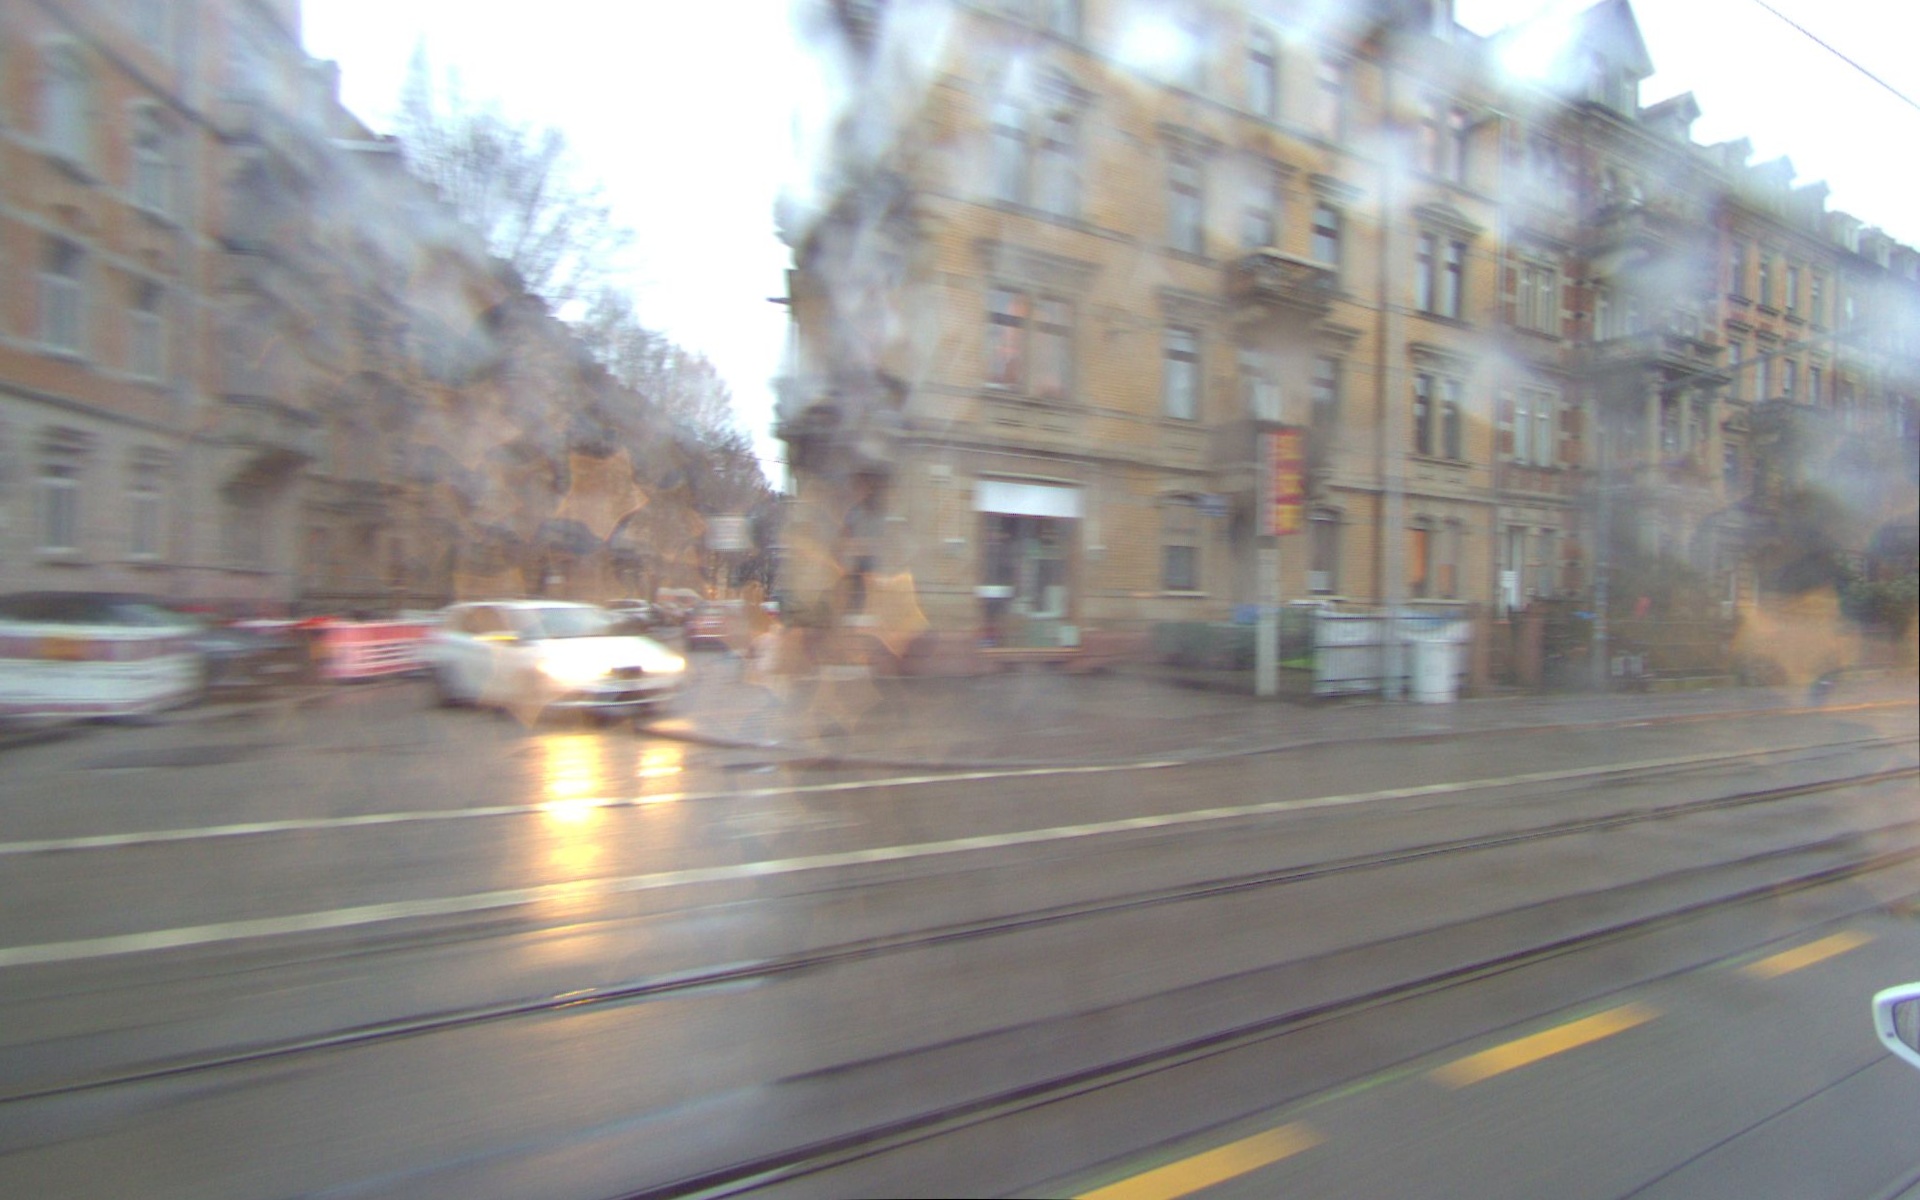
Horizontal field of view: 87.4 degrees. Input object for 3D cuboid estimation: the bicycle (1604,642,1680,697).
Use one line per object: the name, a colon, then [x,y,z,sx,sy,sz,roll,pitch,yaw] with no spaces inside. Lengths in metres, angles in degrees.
bicycle: [13.336,1.332,19.629,1.742,1.020,0.493,1,0,-29]

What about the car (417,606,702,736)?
car: [-5.766,0.887,14.271,4.108,1.546,1.992,0,-1,39]

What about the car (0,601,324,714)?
car: [-12.039,0.824,14.986,3.923,1.550,1.728,1,0,-3]

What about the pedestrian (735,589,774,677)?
pedestrian: [-4.281,0.681,20.964,0.757,1.797,0.719,1,0,-11]

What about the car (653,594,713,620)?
car: [-22.047,0.543,80.162,4.430,1.901,1.995,2,1,-13]

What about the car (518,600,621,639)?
car: [-16.459,0.837,42.435,3.941,1.586,1.801,1,0,-22]

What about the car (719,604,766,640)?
car: [-9.762,0.959,45.348,1.726,1.546,3.940,1,0,-7]

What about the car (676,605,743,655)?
car: [-8.374,0.972,33.851,1.726,1.546,3.940,1,-1,-7]

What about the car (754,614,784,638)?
car: [-13.094,1.788,69.043,1.726,1.546,3.940,1,0,-7]

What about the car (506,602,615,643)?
car: [-15.978,0.913,40.312,3.941,1.586,1.801,1,0,-22]

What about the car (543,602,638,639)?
car: [-16.577,0.921,45.143,3.941,1.586,1.801,1,0,-22]

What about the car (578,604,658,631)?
car: [-18.157,0.918,53.368,3.941,1.385,1.728,1,-1,-22]
